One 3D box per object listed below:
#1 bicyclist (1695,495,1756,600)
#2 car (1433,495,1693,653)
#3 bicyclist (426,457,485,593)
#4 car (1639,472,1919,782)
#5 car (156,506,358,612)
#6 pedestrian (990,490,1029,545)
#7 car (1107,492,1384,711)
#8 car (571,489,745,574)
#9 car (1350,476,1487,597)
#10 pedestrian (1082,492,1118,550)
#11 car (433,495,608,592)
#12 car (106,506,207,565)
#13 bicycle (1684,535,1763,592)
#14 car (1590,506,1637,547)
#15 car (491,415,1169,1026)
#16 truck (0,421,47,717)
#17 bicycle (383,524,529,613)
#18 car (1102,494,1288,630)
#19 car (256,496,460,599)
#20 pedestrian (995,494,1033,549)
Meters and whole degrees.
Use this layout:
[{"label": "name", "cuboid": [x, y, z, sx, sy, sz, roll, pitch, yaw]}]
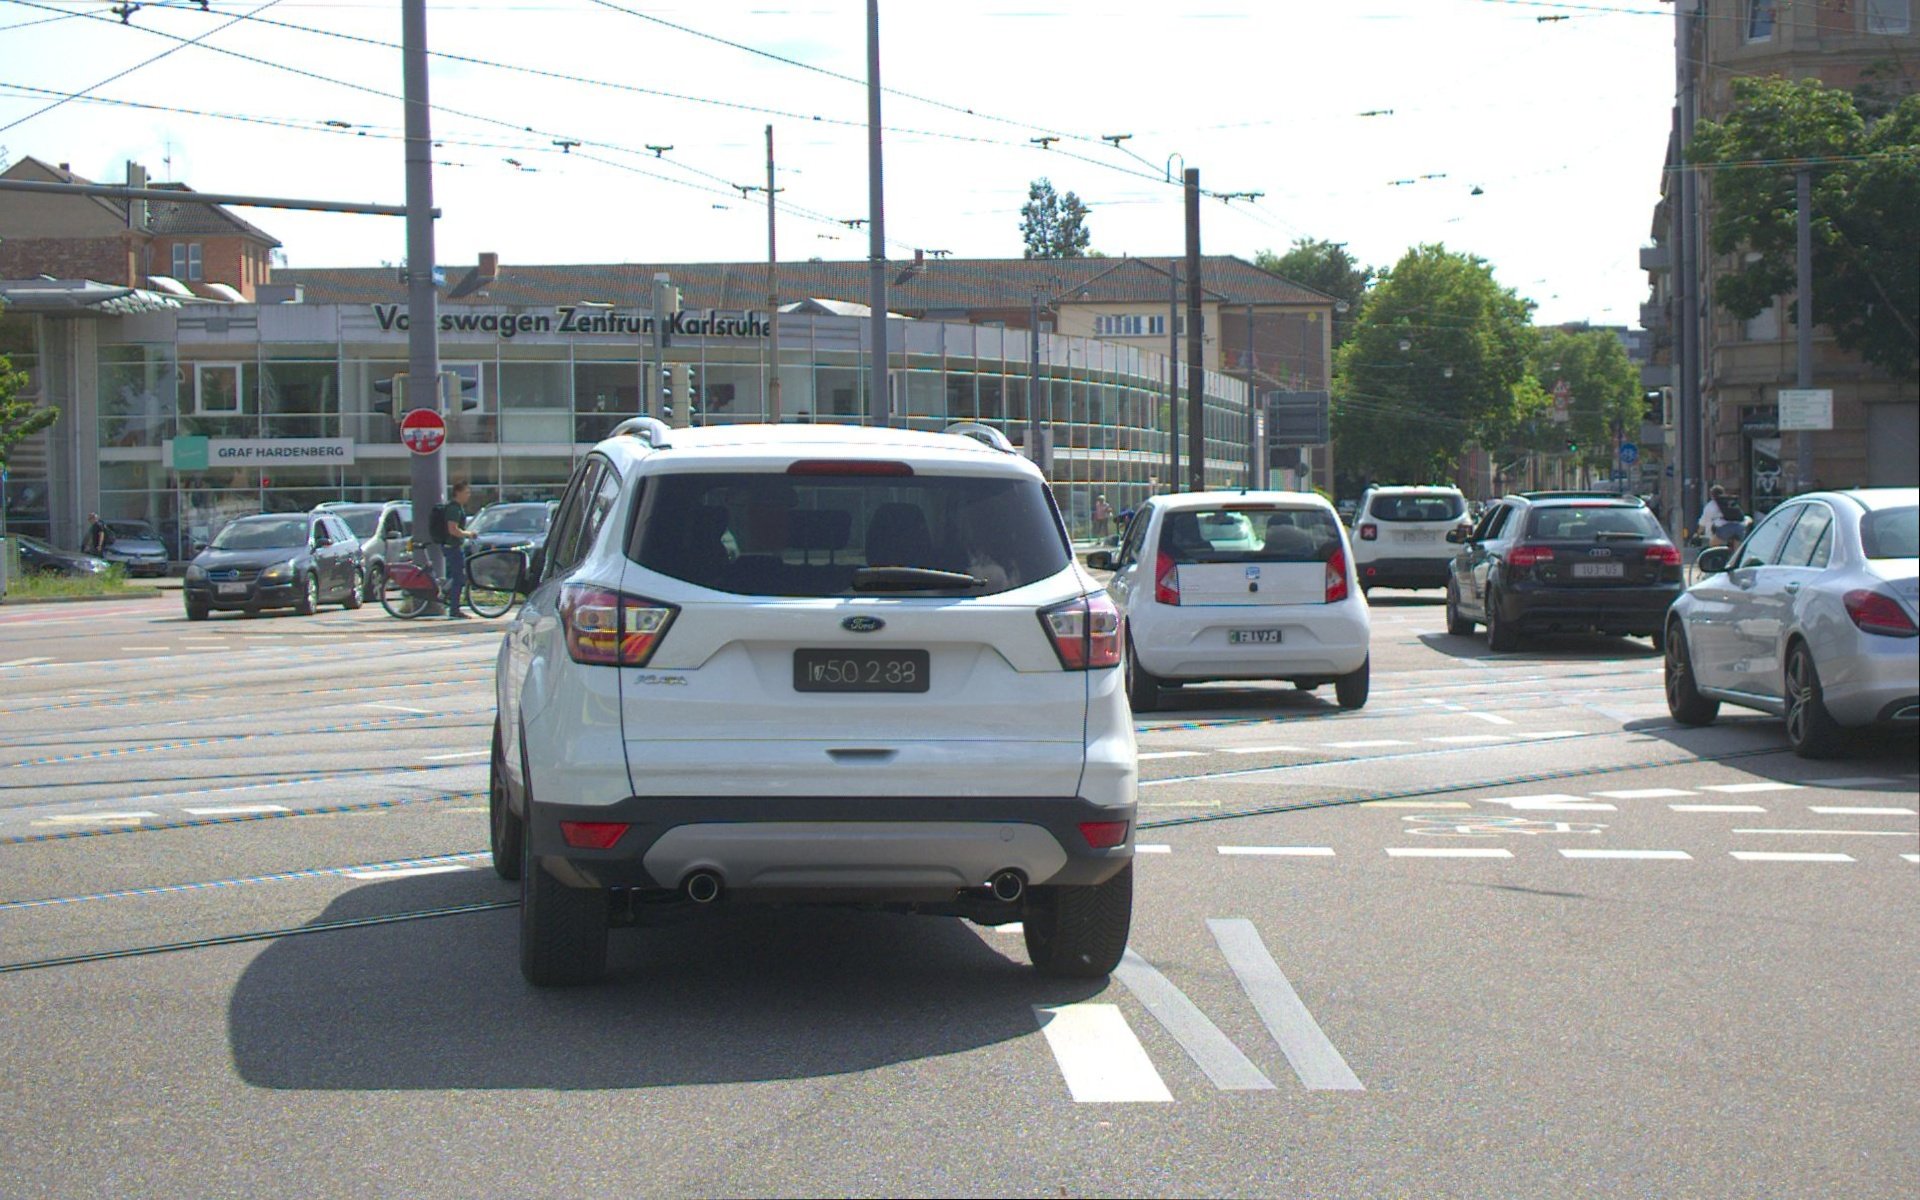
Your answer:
[{"label": "bicyclist", "cuboid": [10.683, -0.738, 47.973, 0.608, 1.446, 0.774, -1, 1, -6]}, {"label": "car", "cuboid": [5.567, -0.288, 32.191, 1.699, 1.367, 4.133, -1, 2, 0]}, {"label": "bicyclist", "cuboid": [-6.485, -0.971, 44.227, 0.660, 1.732, 0.640, 0, 2, 0]}, {"label": "car", "cuboid": [5.349, 0.047, 19.577, 1.930, 1.450, 4.760, 0, 3, -1]}, {"label": "car", "cuboid": [-9.852, -0.606, 48.435, 1.738, 1.368, 3.641, -1, 2, 6]}, {"label": "pedestrian", "cuboid": [1.564, -2.606, 108.487, 0.876, 1.731, 0.875, 1, 1, 28]}, {"label": "car", "cuboid": [1.960, -0.053, 24.587, 1.649, 1.417, 4.000, -1, 2, 0]}, {"label": "car", "cuboid": [-5.472, -1.275, 62.771, 1.900, 1.456, 3.966, -1, 1, 15]}, {"label": "car", "cuboid": [6.505, -0.899, 49.090, 1.837, 1.646, 3.999, 0, 1, 6]}, {"label": "pedestrian", "cuboid": [4.659, -2.618, 114.491, 0.876, 1.915, 0.875, 1, 1, 25]}, {"label": "car", "cuboid": [-7.131, -0.942, 56.089, 1.690, 1.456, 3.967, -1, 2, 10]}, {"label": "car", "cuboid": [-22.147, -1.764, 94.877, 1.818, 1.528, 3.917, -2, 1, 0]}, {"label": "bicycle", "cuboid": [10.650, -0.516, 47.998, 0.584, 0.773, 1.622, -1, 1, -6]}, {"label": "car", "cuboid": [27.115, -3.043, 142.604, 1.837, 1.646, 3.998, 0, 1, 12]}, {"label": "car", "cuboid": [-0.610, 0.277, 11.393, 1.826, 1.658, 3.957, 0, 1, -8]}, {"label": "truck", "cuboid": [-9.740, -0.213, 26.227, 5.846, 2.148, 2.341, 0, 2, 39]}, {"label": "bicycle", "cuboid": [-6.476, -0.411, 44.213, 1.778, 1.121, 0.640, 0, 2, 0]}, {"label": "car", "cuboid": [2.535, -0.435, 37.855, 1.850, 1.414, 3.679, 0, 1, 1]}, {"label": "car", "cuboid": [-9.837, -0.886, 56.477, 1.738, 1.567, 3.998, -1, 2, 15]}, {"label": "pedestrian", "cuboid": [1.718, -2.514, 109.836, 0.876, 1.731, 0.875, 1, 1, 28]}]
